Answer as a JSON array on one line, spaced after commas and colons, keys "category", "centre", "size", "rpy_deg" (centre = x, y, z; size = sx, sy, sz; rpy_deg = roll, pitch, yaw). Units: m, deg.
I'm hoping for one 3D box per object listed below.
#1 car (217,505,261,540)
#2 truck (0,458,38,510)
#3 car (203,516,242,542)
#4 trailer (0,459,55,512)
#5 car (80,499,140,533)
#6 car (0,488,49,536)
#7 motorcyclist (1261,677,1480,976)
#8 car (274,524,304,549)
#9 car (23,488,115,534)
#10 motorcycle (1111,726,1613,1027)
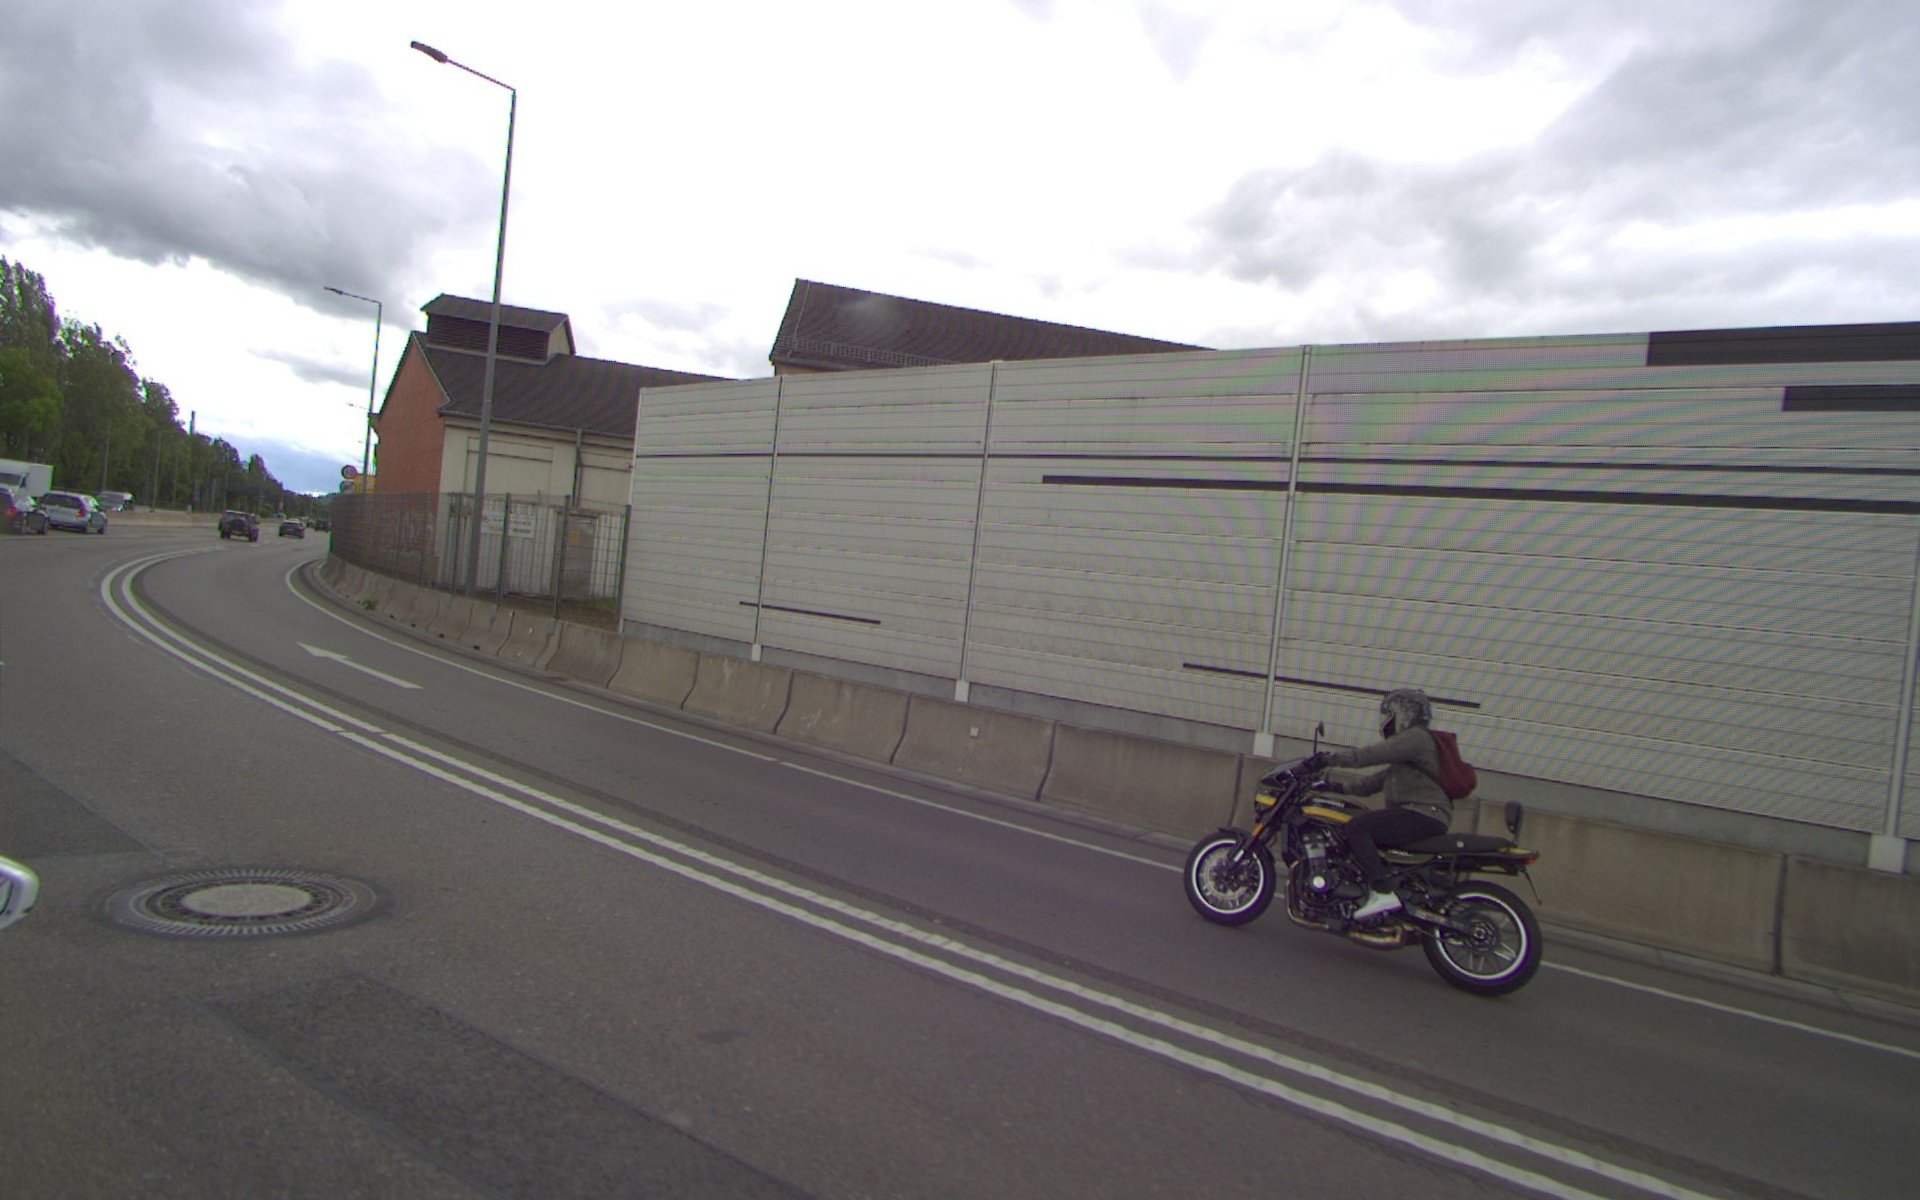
[{"category": "car", "centre": [-44.653, -4.765, 62.368], "size": [1.981, 1.882, 3.964], "rpy_deg": [6, 0, -34]}, {"category": "truck", "centre": [-64.970, -7.955, 68.505], "size": [2.255, 3.151, 2.966], "rpy_deg": [8, -1, -29]}, {"category": "car", "centre": [-58.380, -5.600, 79.699], "size": [1.980, 1.692, 3.968], "rpy_deg": [8, -2, -31]}, {"category": "trailer", "centre": [-66.249, -8.048, 70.826], "size": [2.255, 3.175, 5.668], "rpy_deg": [8, -1, -29]}, {"category": "car", "centre": [-58.748, -5.783, 69.608], "size": [1.886, 1.826, 4.922], "rpy_deg": [8, -2, -27]}, {"category": "car", "centre": [-32.109, -3.013, 33.587], "size": [1.802, 1.452, 4.029], "rpy_deg": [6, 1, -33]}, {"category": "motorcyclist", "centre": [2.495, 1.279, 6.076], "size": [0.950, 1.495, 0.914], "rpy_deg": [7, 1, 30]}, {"category": "car", "centre": [-59.717, -5.618, 89.614], "size": [1.980, 1.927, 3.966], "rpy_deg": [7, -1, -33]}, {"category": "car", "centre": [-36.722, -3.617, 41.585], "size": [1.906, 1.507, 4.034], "rpy_deg": [7, 0, -29]}, {"category": "motorcycle", "centre": [2.337, 1.542, 6.132], "size": [2.619, 1.097, 0.744], "rpy_deg": [6, 1, 30]}]
